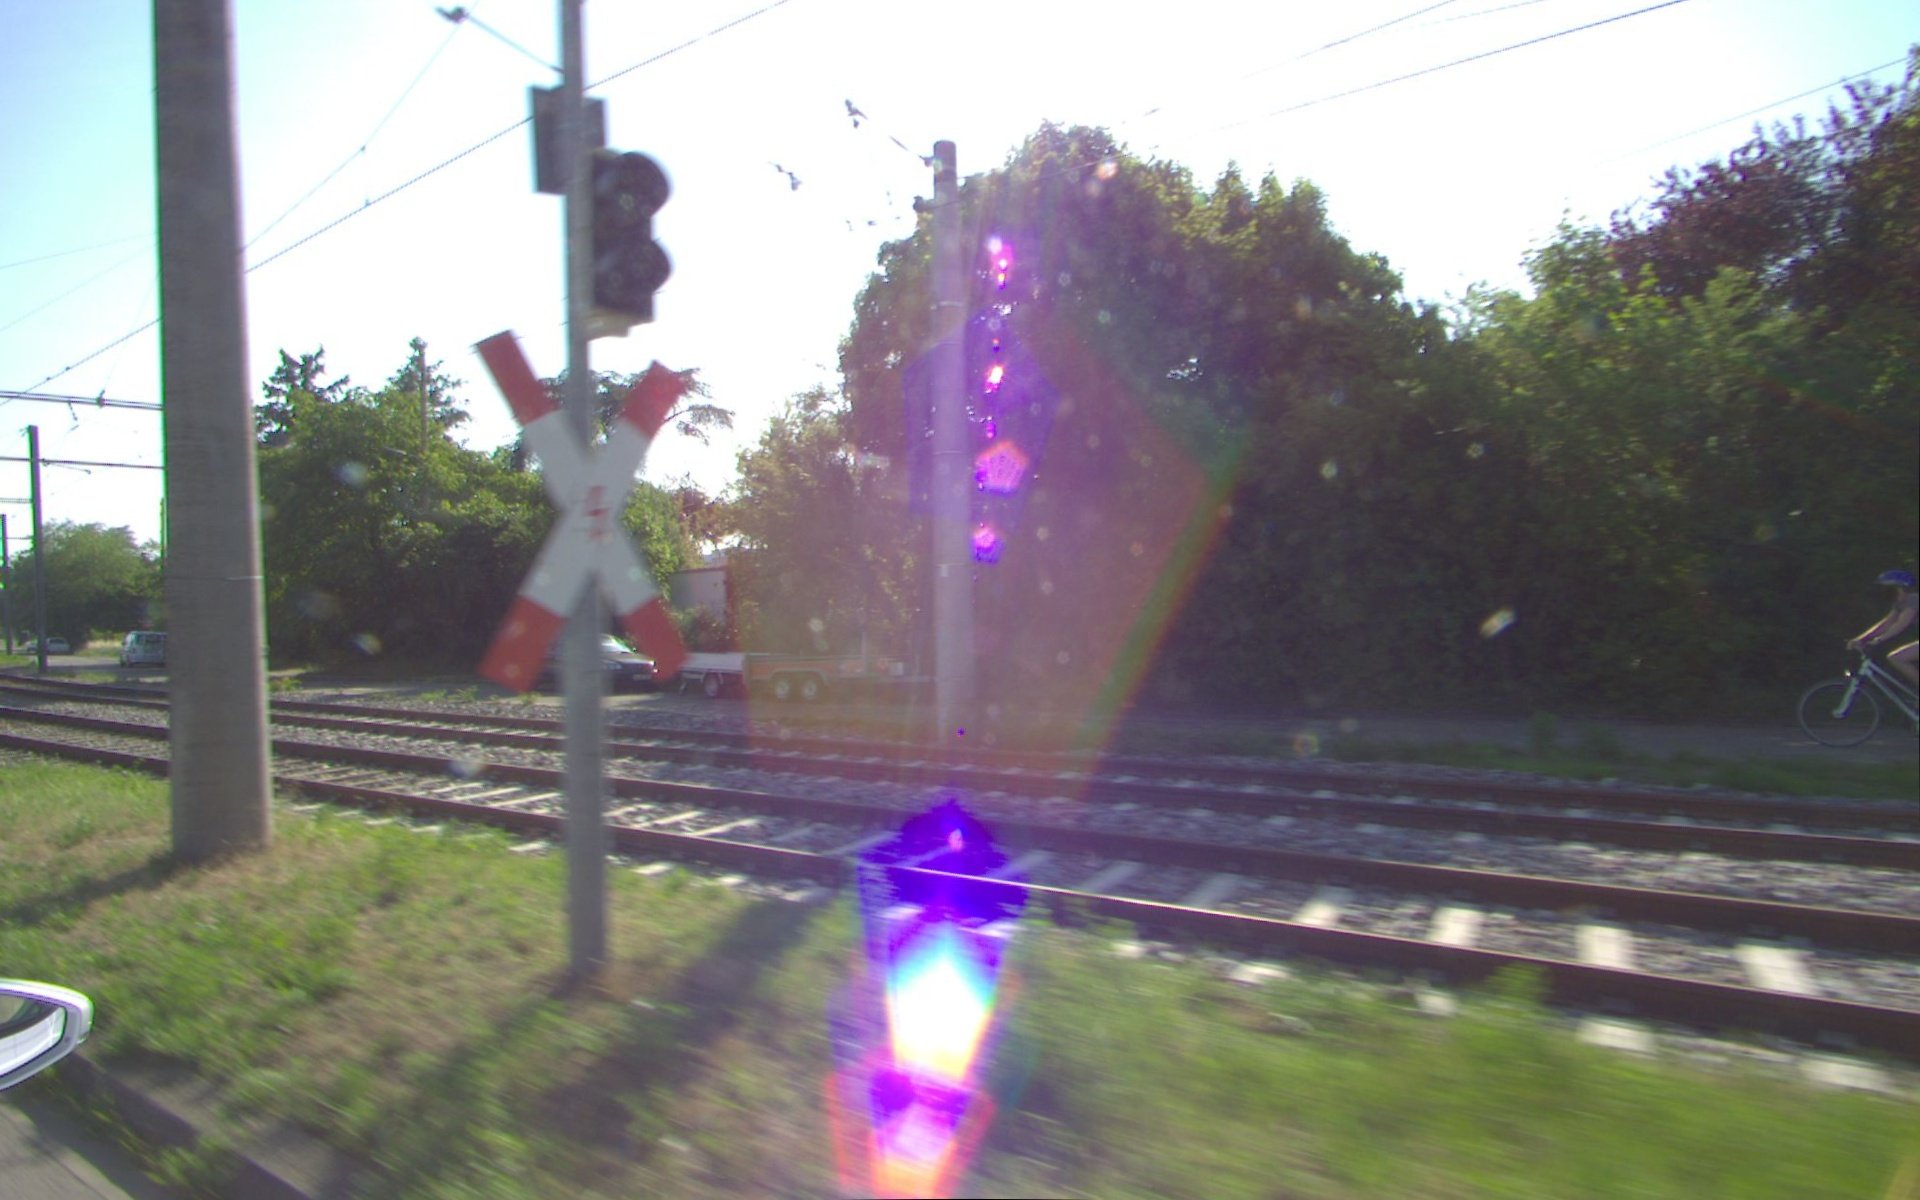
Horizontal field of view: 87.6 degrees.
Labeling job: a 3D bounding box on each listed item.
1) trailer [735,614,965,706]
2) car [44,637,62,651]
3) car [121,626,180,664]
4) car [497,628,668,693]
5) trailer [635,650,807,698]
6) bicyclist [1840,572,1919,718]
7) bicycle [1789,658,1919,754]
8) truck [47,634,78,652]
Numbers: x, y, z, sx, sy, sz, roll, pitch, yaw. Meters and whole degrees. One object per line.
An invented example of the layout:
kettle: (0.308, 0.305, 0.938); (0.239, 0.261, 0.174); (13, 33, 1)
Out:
trailer: (-2.193, 1.148, 19.581); (4.203, 1.616, 2.022); (-2, -3, 35)
car: (-117.471, 5.734, 129.669); (1.723, 1.700, 3.513); (1, -4, -42)
car: (-45.667, 2.529, 56.420); (5.016, 2.029, 1.983); (-2, -4, 44)
car: (-9.379, 1.444, 24.691); (4.820, 1.474, 1.693); (-1, -3, 38)
trailer: (-5.299, 1.595, 22.093); (3.679, 0.951, 1.727); (-2, -3, 36)
bicyclist: (9.609, 0.448, 10.122); (0.948, 1.440, 0.628); (-1, -1, 30)
bicycle: (9.623, 1.062, 10.118); (1.816, 0.921, 0.642); (-1, -1, 30)
truck: (-98.232, 4.722, 109.550); (5.870, 1.842, 2.191); (-2, -1, 45)
